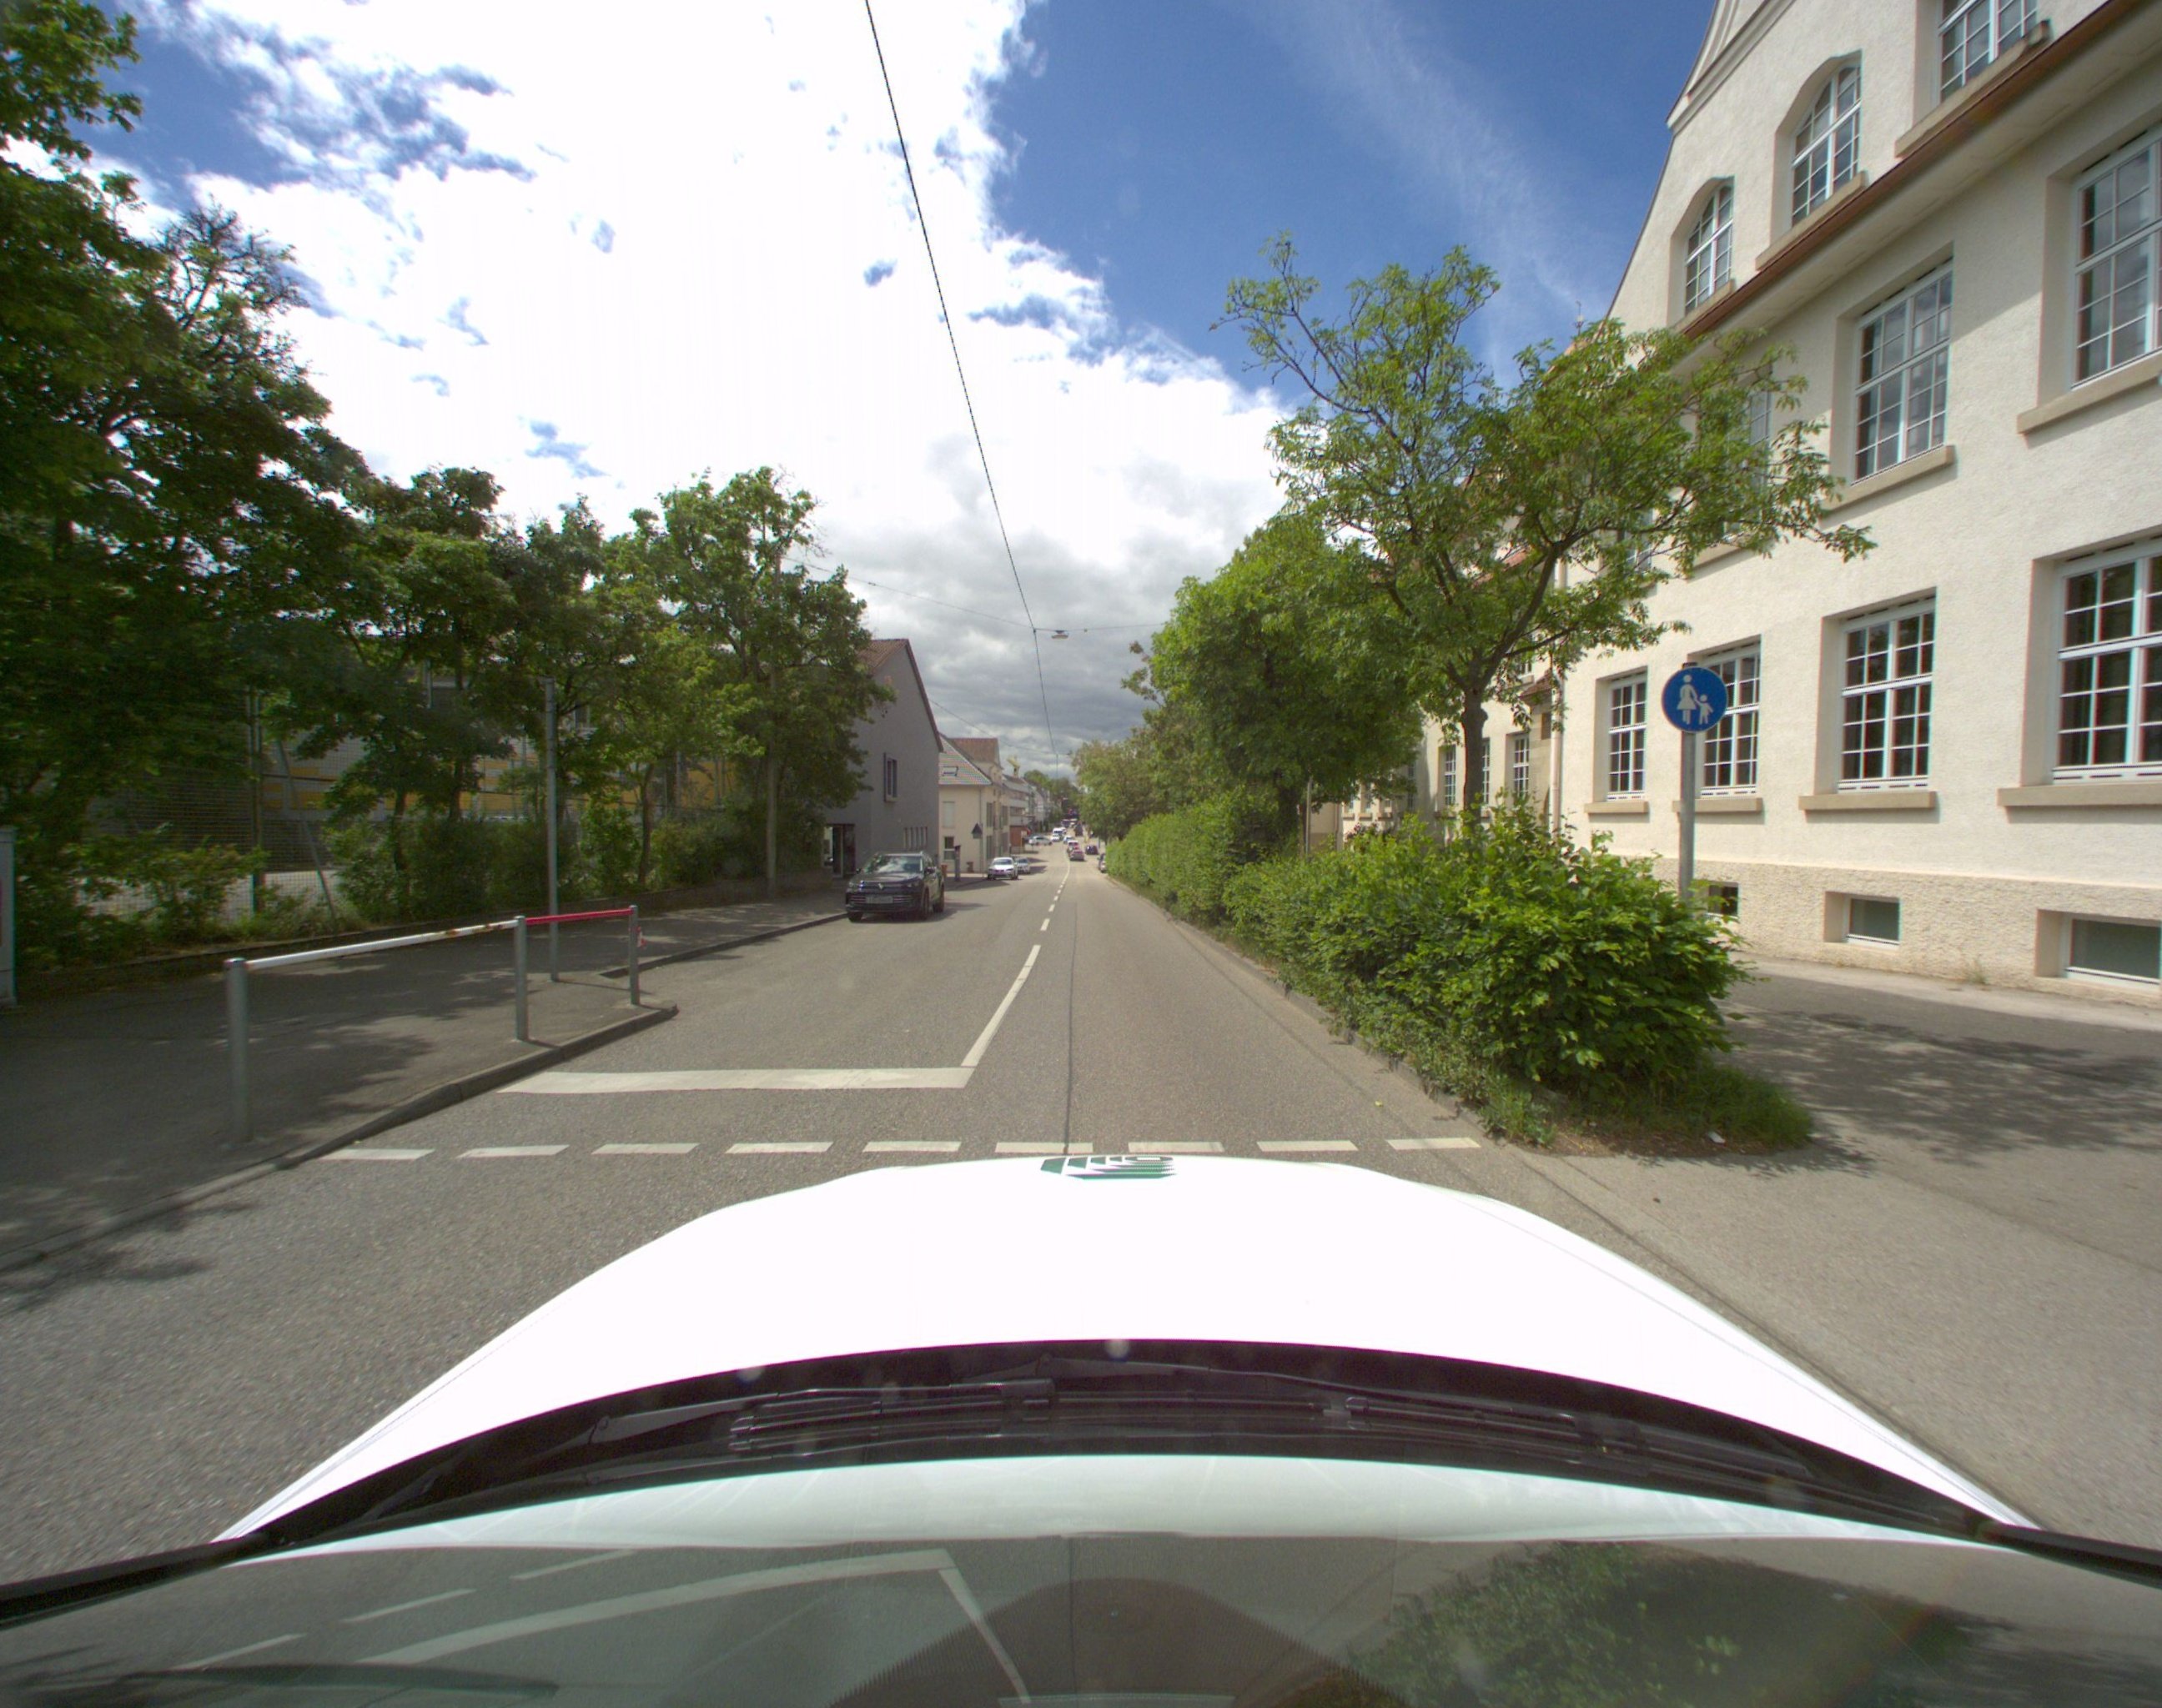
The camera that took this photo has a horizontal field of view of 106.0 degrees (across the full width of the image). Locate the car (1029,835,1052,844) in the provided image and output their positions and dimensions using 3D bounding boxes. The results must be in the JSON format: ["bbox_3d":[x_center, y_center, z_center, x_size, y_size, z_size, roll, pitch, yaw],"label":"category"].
[{"bbox_3d":[-7.380,-2.661,148.898,4.020,1.557,1.766,-1,0,-39],"label":"car"}]

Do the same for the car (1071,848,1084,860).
[{"bbox_3d":[-0.437,-0.003,107.632,1.739,1.416,3.999,0,1,-1],"label":"car"}]

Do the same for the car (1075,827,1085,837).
[{"bbox_3d":[-0.326,-5.640,207.340,2.429,2.318,5.325,2,1,-1],"label":"car"}]

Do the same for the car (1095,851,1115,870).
[{"bbox_3d":[2.416,0.626,82.292,1.838,1.767,4.514,1,0,0],"label":"car"}]

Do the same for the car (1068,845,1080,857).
[{"bbox_3d":[-1.066,-0.445,126.789,1.831,1.862,3.849,1,1,-1],"label":"car"}]

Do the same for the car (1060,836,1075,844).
[{"bbox_3d":[-2.663,-2.795,160.322,1.770,1.492,4.016,2,1,14],"label":"car"}]

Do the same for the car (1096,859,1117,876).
[{"bbox_3d":[2.415,1.245,76.971,1.781,1.509,4.363,1,0,0],"label":"car"}]

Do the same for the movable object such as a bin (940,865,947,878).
[{"bbox_3d":[-9.953,1.280,58.876,0.453,0.929,0.399,-1,0,-2],"label":"movable object such as a bin"}]

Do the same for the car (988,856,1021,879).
[{"bbox_3d":[-4.987,0.860,53.518,1.691,1.390,3.867,0,1,1],"label":"car"}]

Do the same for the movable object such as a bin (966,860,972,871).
[{"bbox_3d":[-9.331,0.954,67.779,0.413,0.953,0.391,-1,0,-4],"label":"movable object such as a bin"}]

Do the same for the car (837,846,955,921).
[{"bbox_3d":[-4.479,0.639,20.453,1.789,1.610,4.647,1,1,1],"label":"car"}]

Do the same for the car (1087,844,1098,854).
[{"bbox_3d":[1.731,-0.743,123.011,1.747,1.370,4.002,1,3,0],"label":"car"}]

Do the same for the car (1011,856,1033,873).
[{"bbox_3d":[-5.161,0.928,71.879,1.642,1.418,3.697,1,0,-1],"label":"car"}]
